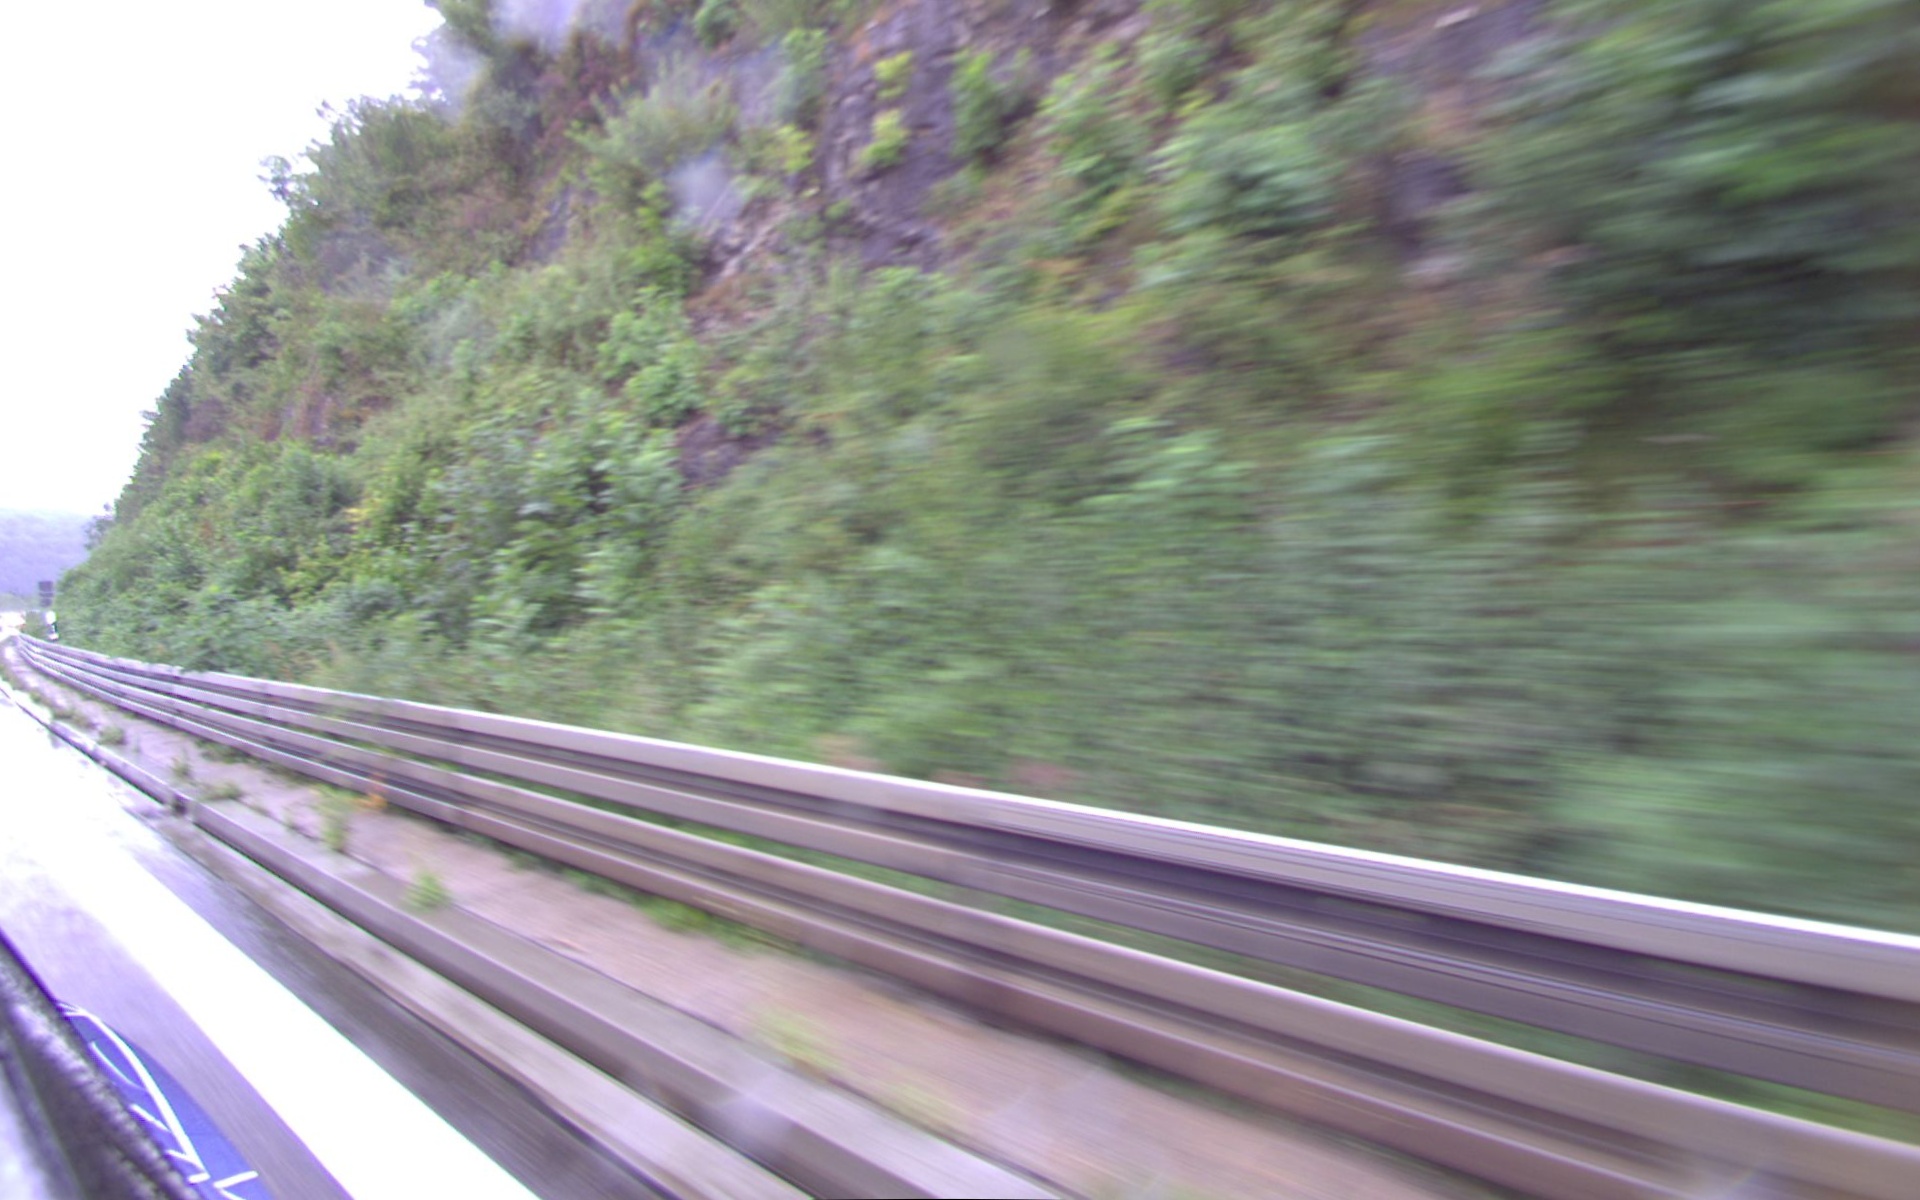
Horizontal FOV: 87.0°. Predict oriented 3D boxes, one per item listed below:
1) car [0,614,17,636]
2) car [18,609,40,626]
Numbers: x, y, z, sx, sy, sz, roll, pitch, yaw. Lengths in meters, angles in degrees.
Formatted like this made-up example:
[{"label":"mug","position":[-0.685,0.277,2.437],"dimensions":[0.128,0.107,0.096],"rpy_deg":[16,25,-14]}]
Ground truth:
[{"label":"car","position":[-86.144,2.272,91.105],"dimensions":[3.754,1.920,1.570],"rpy_deg":[-1,-1,43]},{"label":"car","position":[-109.132,2.023,118.584],"dimensions":[1.882,2.029,4.004],"rpy_deg":[0,0,-43]}]
